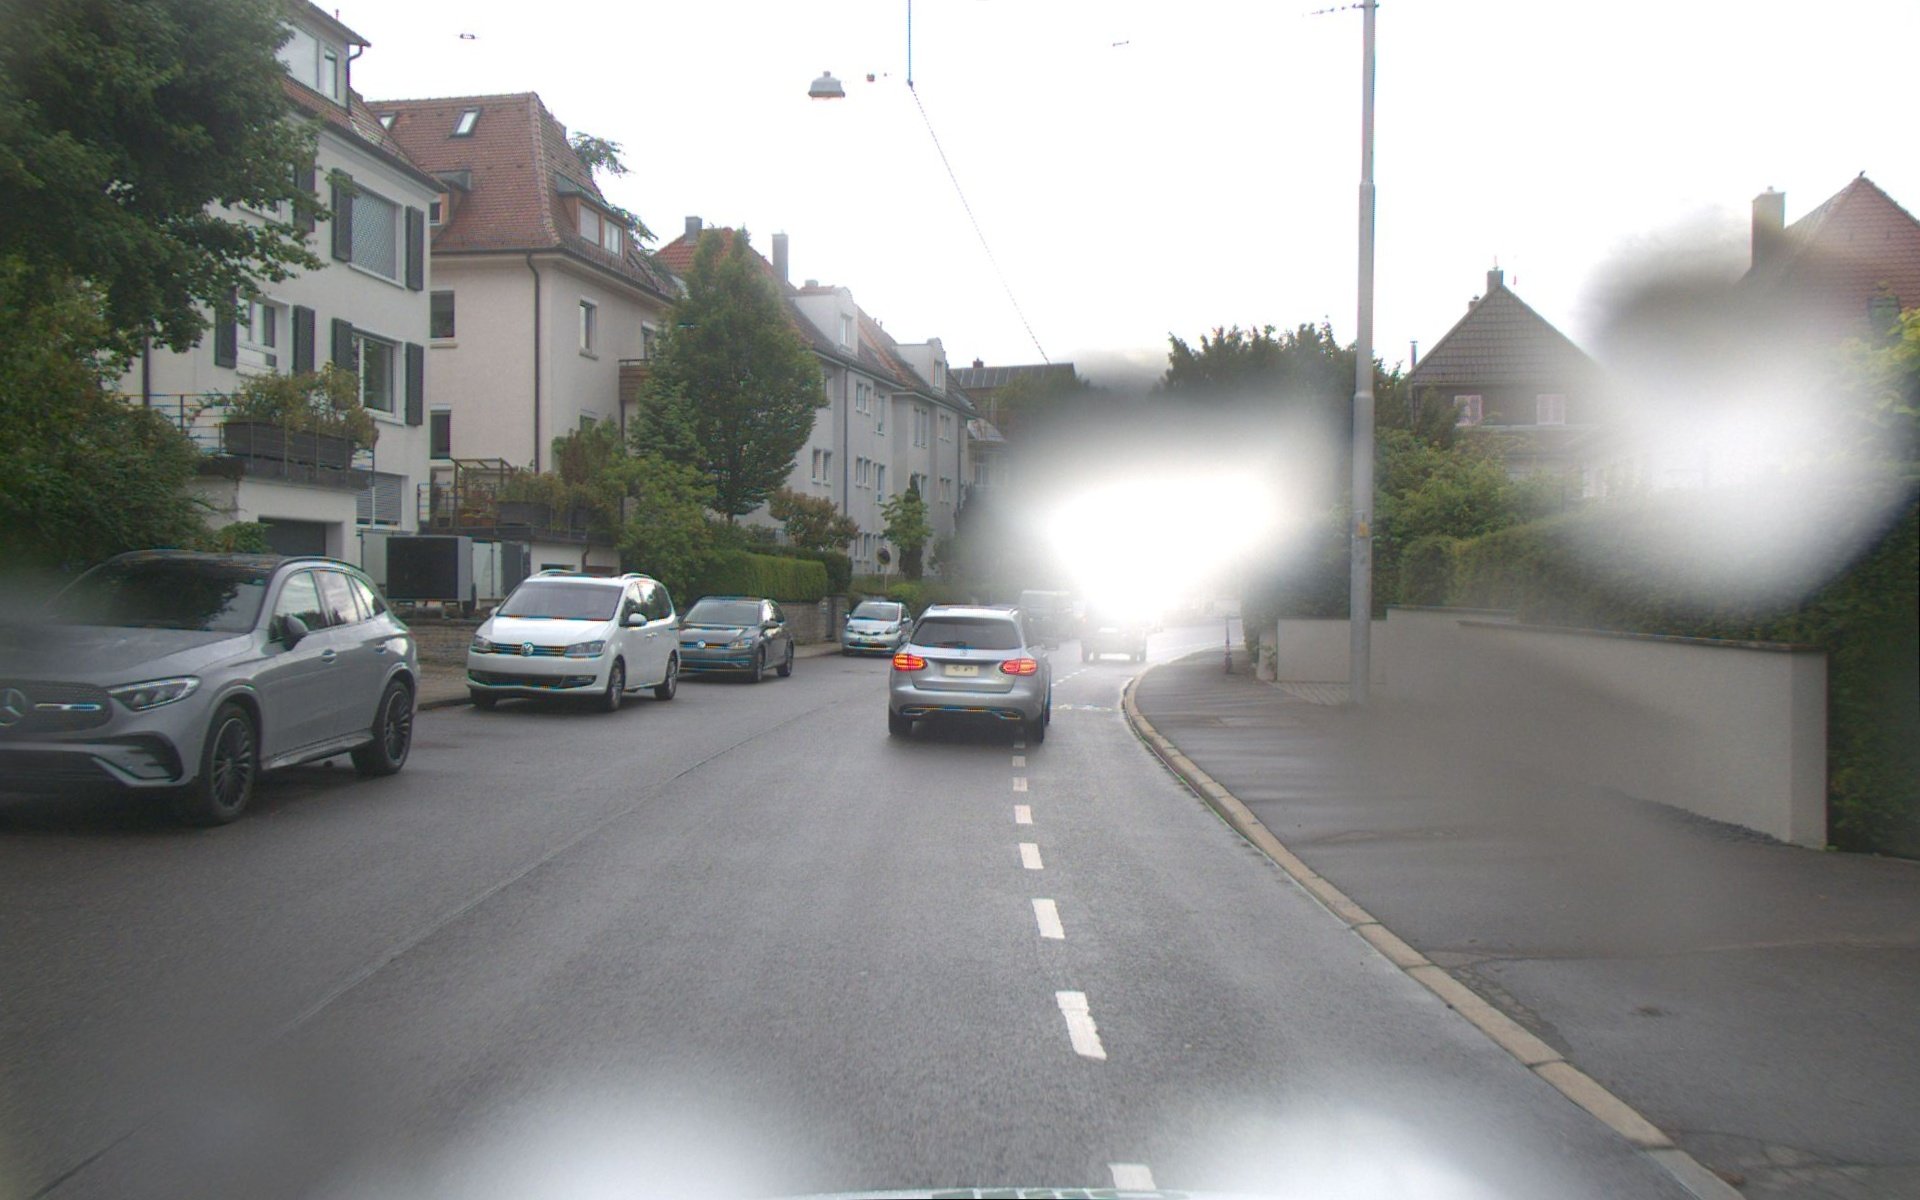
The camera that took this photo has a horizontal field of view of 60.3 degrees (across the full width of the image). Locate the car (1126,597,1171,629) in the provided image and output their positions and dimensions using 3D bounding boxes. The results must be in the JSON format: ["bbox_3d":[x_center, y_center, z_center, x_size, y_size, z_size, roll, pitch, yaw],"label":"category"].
[{"bbox_3d":[9.887,0.678,86.492,1.677,1.472,3.256,2,2,19],"label":"car"}]

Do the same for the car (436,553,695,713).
[{"bbox_3d":[-4.994,0.371,21.697,1.952,1.731,4.740,4,1,3],"label":"car"}]

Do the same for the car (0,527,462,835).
[{"bbox_3d":[-5.228,0.394,11.477,1.953,1.608,4.762,4,1,1],"label":"car"}]

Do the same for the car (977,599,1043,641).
[{"bbox_3d":[1.932,0.724,62.579,1.608,1.442,4.616,2,1,13],"label":"car"}]

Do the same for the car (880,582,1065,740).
[{"bbox_3d":[0.254,0.623,19.426,1.778,1.583,4.003,2,1,5],"label":"car"}]

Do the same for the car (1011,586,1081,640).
[{"bbox_3d":[3.596,0.546,68.165,1.791,2.092,5.013,2,0,15],"label":"car"}]

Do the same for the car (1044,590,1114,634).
[{"bbox_3d":[5.365,0.489,74.091,1.952,1.717,4.679,2,2,19],"label":"car"}]

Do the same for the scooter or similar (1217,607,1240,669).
[{"bbox_3d":[5.893,0.834,36.329,0.440,1.330,1.483,0,-1,8],"label":"scooter or similar"}]

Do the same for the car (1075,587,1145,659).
[{"bbox_3d":[4.409,0.662,48.183,1.804,1.937,4.003,2,0,8],"label":"car"}]

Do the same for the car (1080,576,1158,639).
[{"bbox_3d":[7.849,0.285,81.099,2.341,2.820,6.535,2,2,18],"label":"car"}]

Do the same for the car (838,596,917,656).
[{"bbox_3d":[-2.219,0.690,45.260,1.571,1.512,3.490,2,0,7],"label":"car"}]

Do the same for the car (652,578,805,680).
[{"bbox_3d":[-4.113,0.481,30.032,1.754,1.608,4.141,4,1,5],"label":"car"}]
